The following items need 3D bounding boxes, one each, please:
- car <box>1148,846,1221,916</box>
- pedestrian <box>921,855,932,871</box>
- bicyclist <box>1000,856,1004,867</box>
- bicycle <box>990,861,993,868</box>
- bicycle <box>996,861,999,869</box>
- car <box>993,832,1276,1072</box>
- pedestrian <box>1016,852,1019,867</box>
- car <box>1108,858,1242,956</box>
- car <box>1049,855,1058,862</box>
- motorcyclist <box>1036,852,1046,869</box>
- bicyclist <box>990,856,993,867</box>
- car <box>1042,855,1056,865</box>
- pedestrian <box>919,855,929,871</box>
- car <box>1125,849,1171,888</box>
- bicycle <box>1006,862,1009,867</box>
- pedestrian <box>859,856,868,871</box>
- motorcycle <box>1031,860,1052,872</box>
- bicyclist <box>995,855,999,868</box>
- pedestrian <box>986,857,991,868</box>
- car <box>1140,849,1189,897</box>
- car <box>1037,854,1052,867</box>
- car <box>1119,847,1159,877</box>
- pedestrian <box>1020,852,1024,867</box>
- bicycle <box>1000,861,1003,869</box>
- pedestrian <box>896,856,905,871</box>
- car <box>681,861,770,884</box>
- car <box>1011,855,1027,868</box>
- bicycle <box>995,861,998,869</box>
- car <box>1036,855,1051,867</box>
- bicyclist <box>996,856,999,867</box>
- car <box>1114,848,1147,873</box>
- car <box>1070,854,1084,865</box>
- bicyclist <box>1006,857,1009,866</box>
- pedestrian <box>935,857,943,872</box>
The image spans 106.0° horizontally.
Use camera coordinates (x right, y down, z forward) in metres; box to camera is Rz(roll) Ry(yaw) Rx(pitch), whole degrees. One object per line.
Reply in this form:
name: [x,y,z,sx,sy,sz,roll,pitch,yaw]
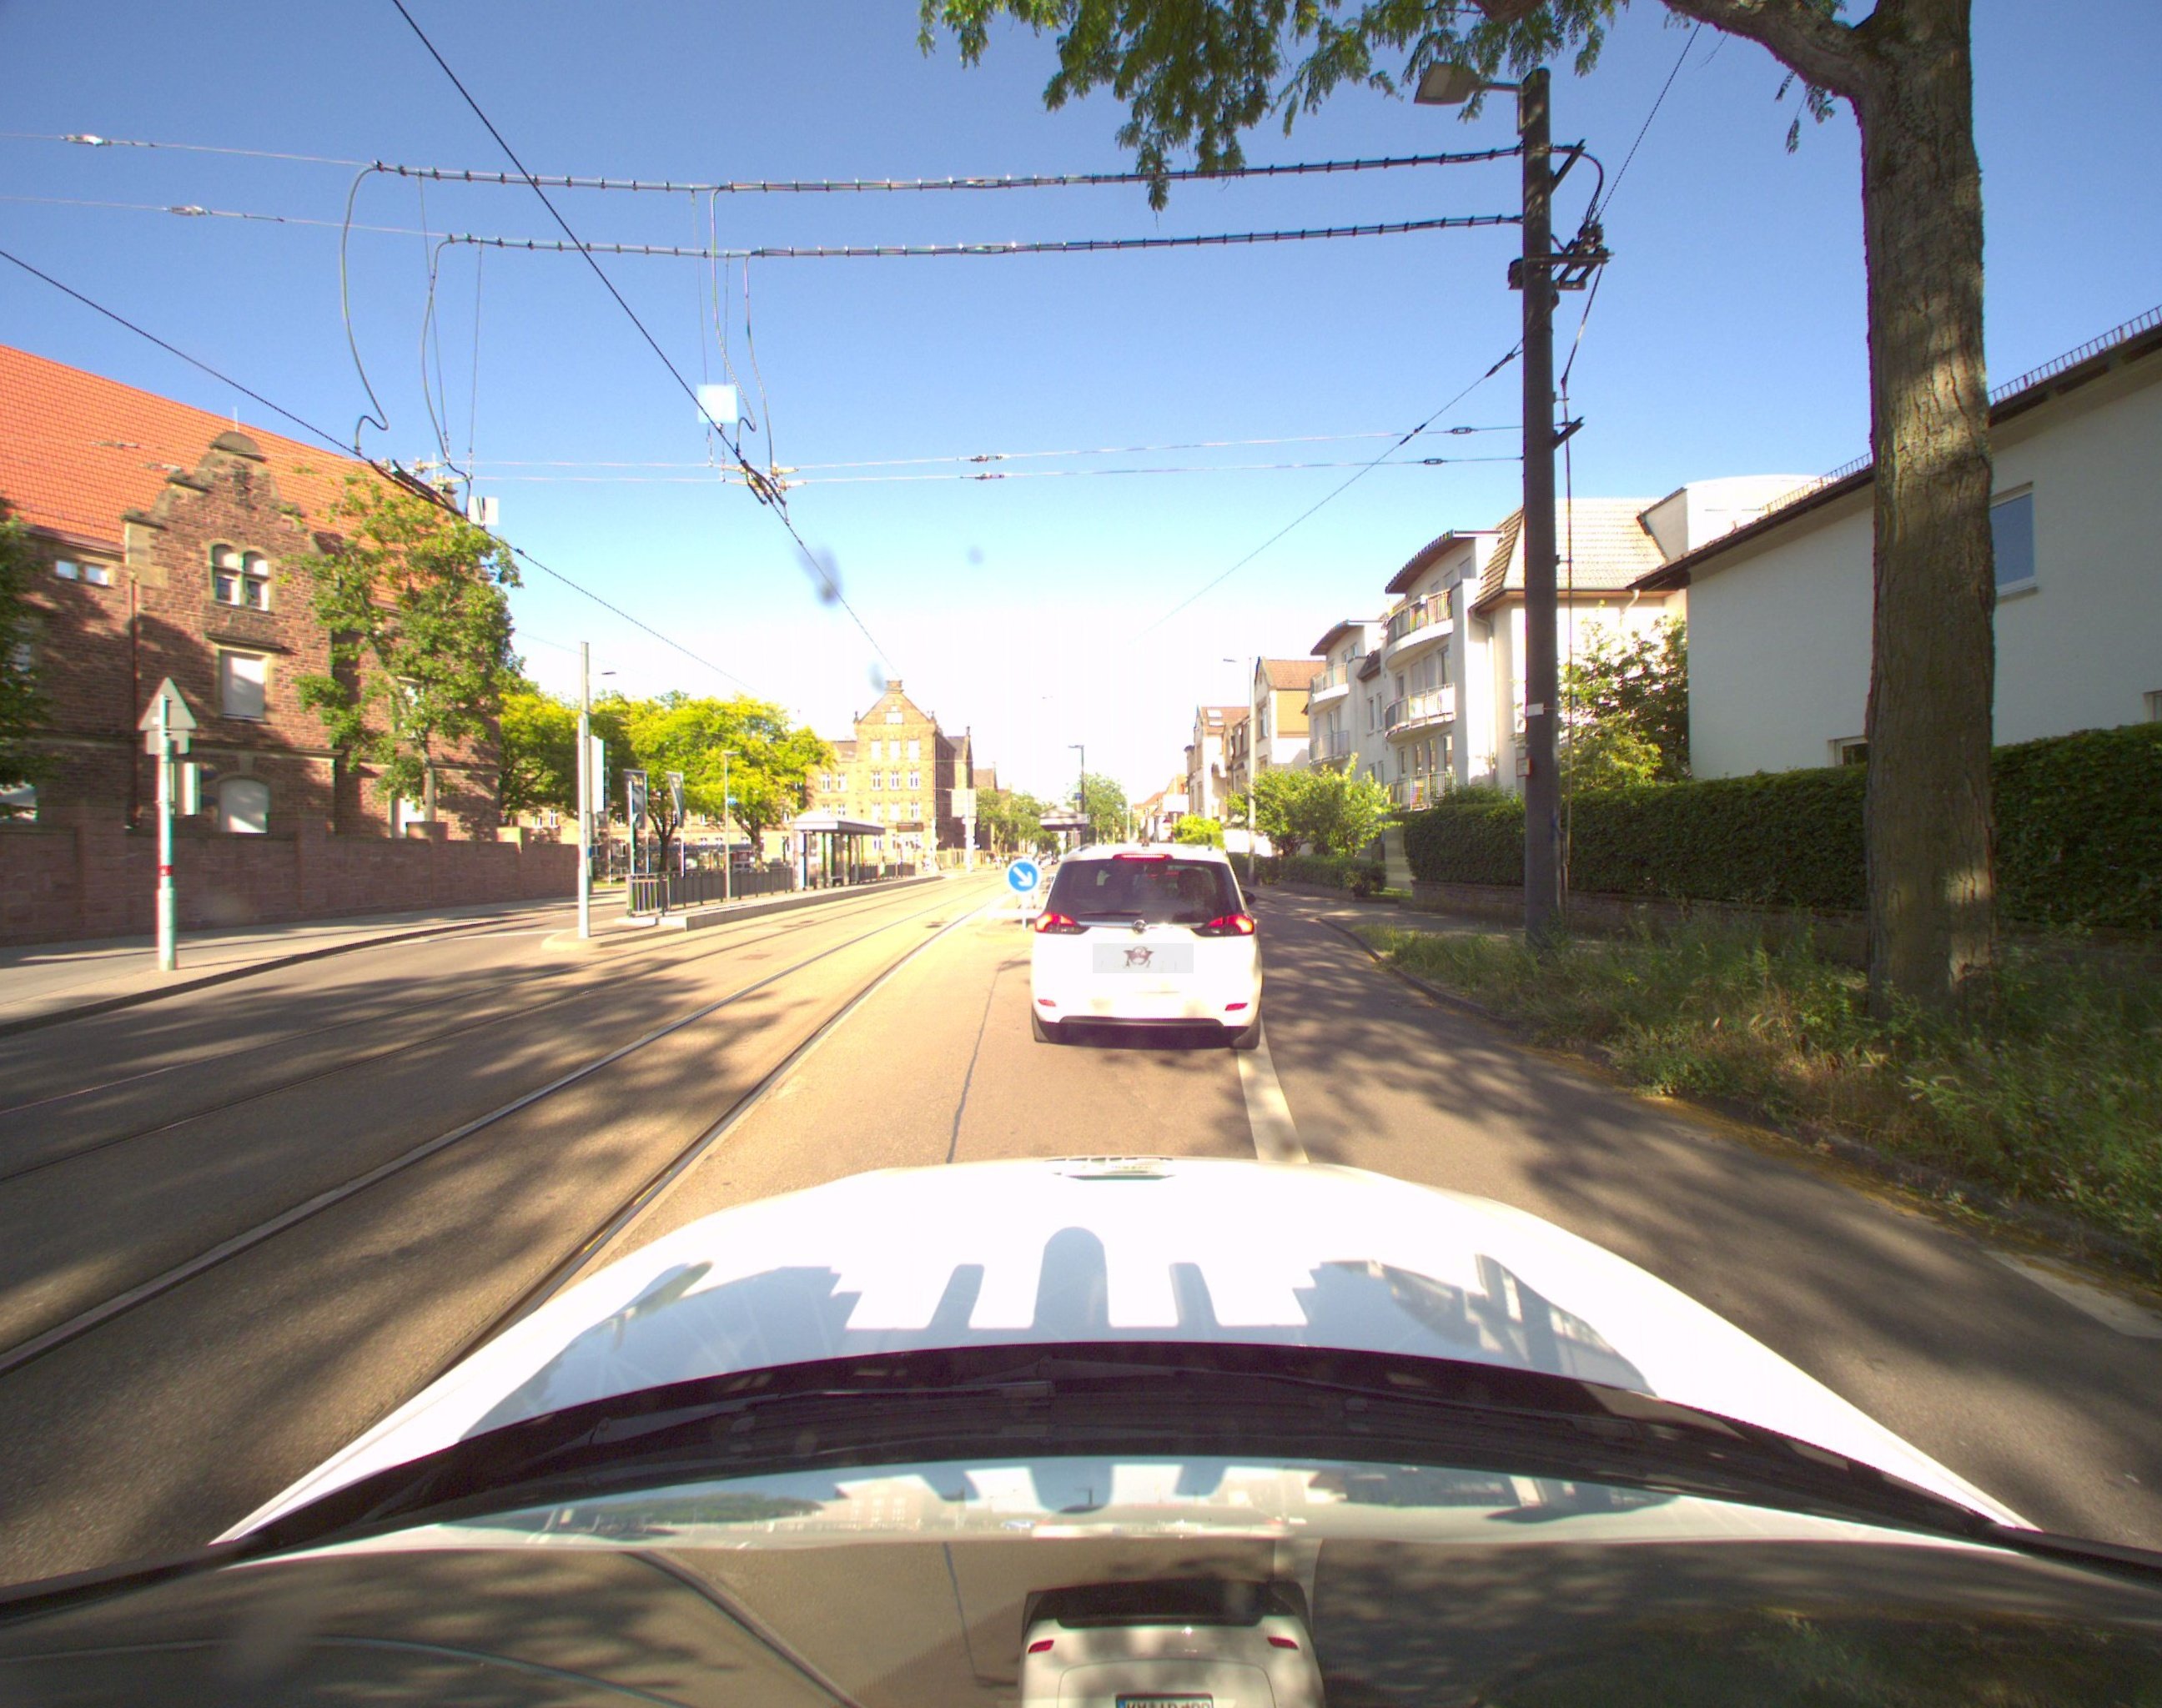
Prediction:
car: [2.575,0.639,20.891,1.630,1.601,3.859,-1,0,4]
pedestrian: [-16.436,0.969,86.646,0.892,1.684,1.029,0,-1,1]
bicyclist: [-10.662,1.007,109.600,0.443,1.553,0.495,-1,0,-2]
bicycle: [-12.678,1.538,115.633,0.343,0.950,0.996,0,-1,-1]
bicycle: [-11.004,1.456,107.063,0.343,0.950,0.996,0,-1,-1]
car: [0.646,0.684,7.701,1.982,1.644,4.003,0,0,8]
pedestrian: [-8.770,0.785,112.351,0.443,2.013,0.495,-1,0,-2]
car: [1.534,0.792,14.063,1.944,1.397,4.005,-1,0,4]
car: [-7.002,1.122,207.295,1.987,1.863,4.000,0,-1,0]
motorcyclist: [-4.062,0.665,82.707,0.848,1.621,0.608,-1,0,-35]
bicyclist: [-12.685,1.070,115.599,0.443,1.553,0.495,-1,0,-2]
car: [-5.132,0.921,130.988,1.987,1.629,4.000,-1,0,0]
pedestrian: [-17.037,0.995,88.548,0.839,1.691,1.029,0,-1,1]
car: [2.932,0.614,36.247,1.824,1.579,4.012,-1,0,2]
bicycle: [-10.294,1.455,113.598,0.343,0.725,0.996,0,-1,-1]
pedestrian: [-23.967,1.029,89.823,0.932,1.588,0.802,0,-1,-10]
motorcycle: [-4.024,1.199,82.726,2.084,1.198,0.607,-1,0,-36]
bicyclist: [-10.707,0.958,103.731,0.443,1.553,0.742,-1,0,-2]
pedestrian: [-15.394,1.389,135.598,0.733,1.714,0.753,0,-1,-4]
car: [2.946,0.637,29.317,1.630,1.601,3.859,-1,0,4]
car: [-4.816,0.902,107.619,1.989,1.629,3.996,-1,0,-3]
car: [3.128,0.418,44.373,1.986,1.503,4.002,-1,0,2]
pedestrian: [-8.148,0.783,112.649,0.443,2.013,0.495,-1,0,-2]
bicycle: [-10.661,1.474,109.605,0.343,0.950,0.996,0,-1,-1]
pedestrian: [-19.361,0.974,87.313,0.799,1.588,0.934,0,-1,-1]
car: [-32.960,1.707,75.696,6.927,1.921,2.992,-1,0,0]
car: [-8.192,0.934,107.477,1.989,1.629,3.996,-1,0,-3]
bicycle: [-10.715,1.425,103.521,0.343,0.950,1.160,0,-1,-1]
car: [-5.297,0.964,114.742,1.989,1.629,3.996,-1,0,-3]
bicyclist: [-10.979,0.988,107.022,0.443,1.553,0.495,-1,0,-2]
car: [3.103,0.389,51.841,1.986,1.503,4.002,-1,0,2]
car: [-0.657,0.892,126.581,1.988,1.629,3.998,-1,0,-1]
bicyclist: [-10.300,1.013,113.624,0.358,1.303,0.397,-1,0,-2]
pedestrian: [-16.797,1.219,96.417,0.728,1.714,0.710,-1,-1,24]
